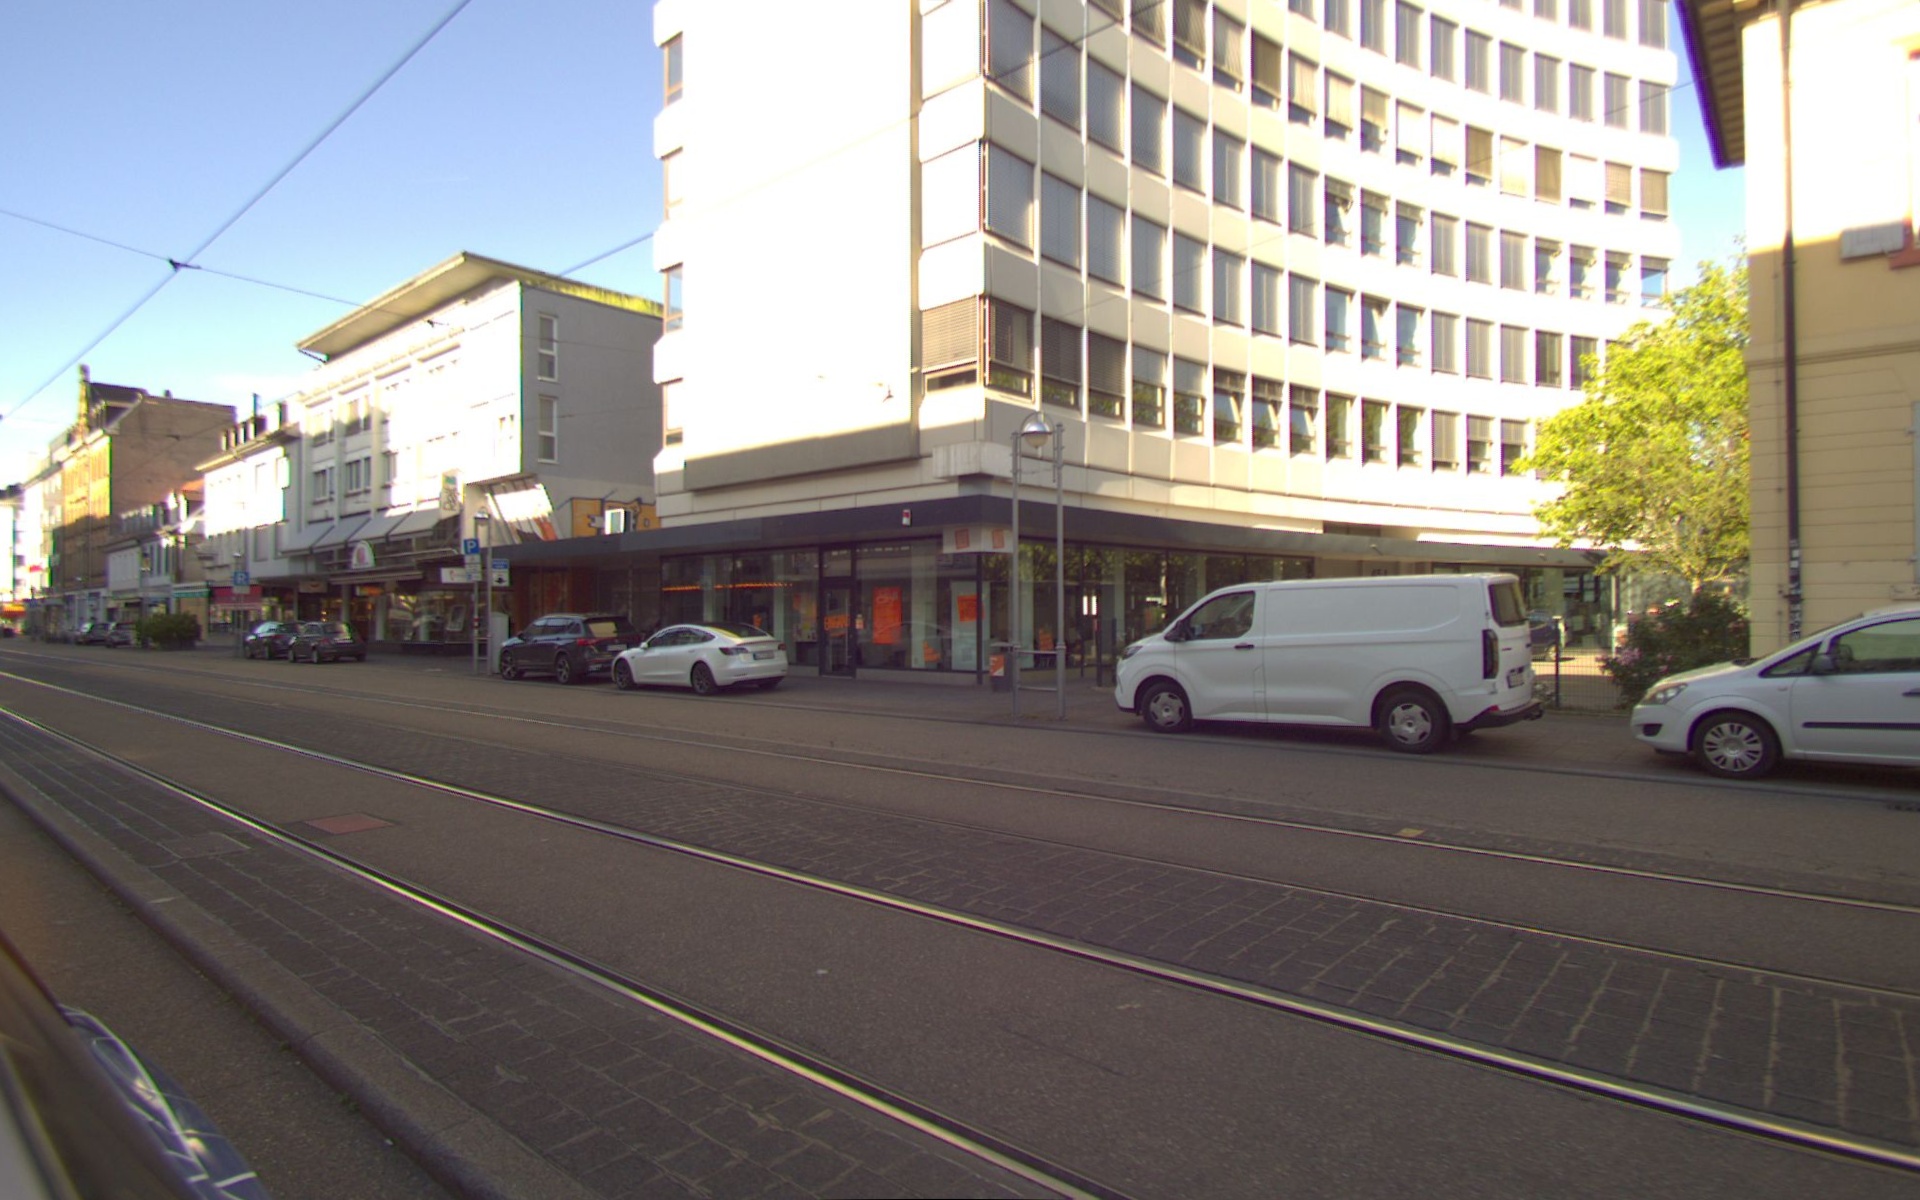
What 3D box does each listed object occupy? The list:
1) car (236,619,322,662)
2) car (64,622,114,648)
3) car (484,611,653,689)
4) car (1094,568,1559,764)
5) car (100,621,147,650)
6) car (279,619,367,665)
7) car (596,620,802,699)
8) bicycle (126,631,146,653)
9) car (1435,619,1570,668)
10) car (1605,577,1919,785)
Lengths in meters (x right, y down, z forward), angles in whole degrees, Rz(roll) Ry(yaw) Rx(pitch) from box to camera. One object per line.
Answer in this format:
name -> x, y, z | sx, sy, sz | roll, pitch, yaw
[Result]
car -> -27.472, 1.589, 40.754 | 4.850, 1.535, 1.719 | -1, 1, 42
car -> -56.358, 2.230, 65.428 | 4.760, 1.525, 1.798 | -1, -1, 41
car -> -9.776, 1.173, 25.084 | 4.653, 1.691, 1.958 | -1, 1, 42
car -> 4.373, 0.675, 12.655 | 5.093, 1.990, 1.973 | -1, 1, 41
car -> -49.241, 2.063, 59.560 | 2.890, 1.616, 1.679 | -1, 0, 41
car -> -23.111, 1.489, 36.656 | 3.585, 1.535, 1.585 | -1, 1, 39
car -> -5.633, 1.174, 21.532 | 4.652, 1.431, 1.869 | -1, 1, 40
bicycle -> -44.122, 2.229, 54.170 | 1.715, 1.098, 0.513 | -1, 1, 41
car -> 17.116, 1.326, 31.937 | 3.931, 1.431, 1.831 | 1, 0, -27
car -> 8.596, 0.657, 8.924 | 4.649, 1.698, 1.788 | -1, 1, 44
